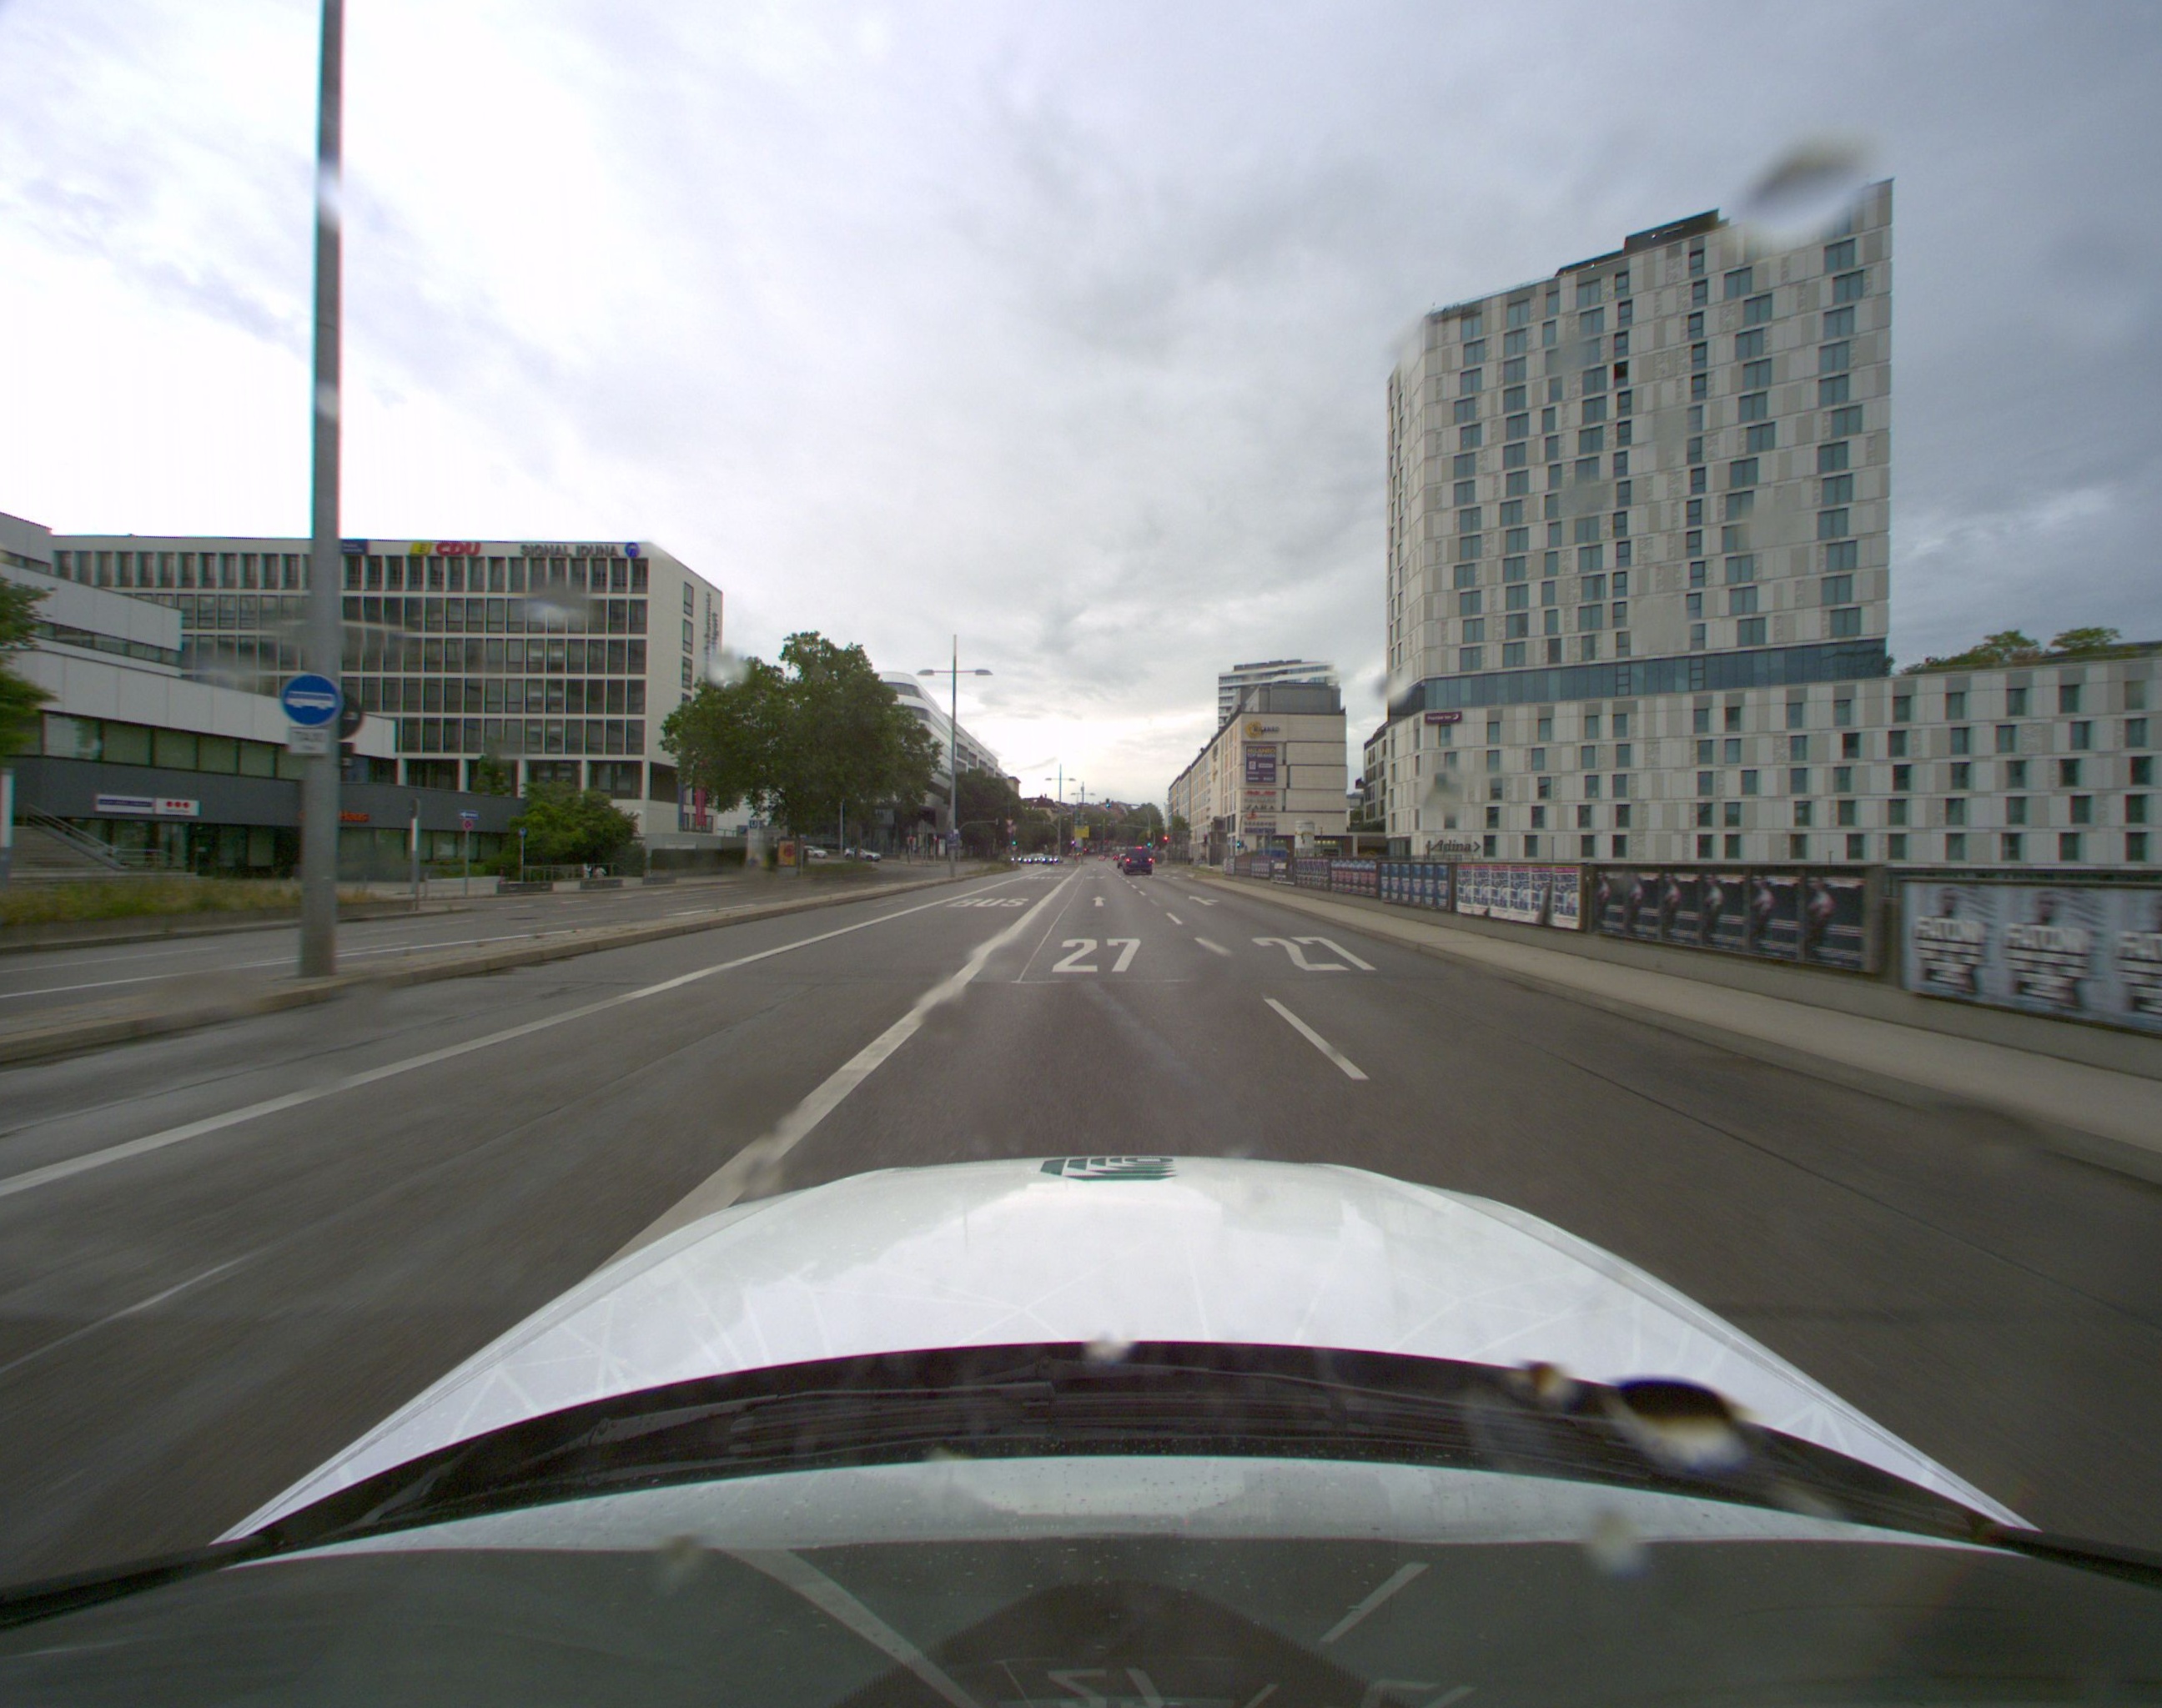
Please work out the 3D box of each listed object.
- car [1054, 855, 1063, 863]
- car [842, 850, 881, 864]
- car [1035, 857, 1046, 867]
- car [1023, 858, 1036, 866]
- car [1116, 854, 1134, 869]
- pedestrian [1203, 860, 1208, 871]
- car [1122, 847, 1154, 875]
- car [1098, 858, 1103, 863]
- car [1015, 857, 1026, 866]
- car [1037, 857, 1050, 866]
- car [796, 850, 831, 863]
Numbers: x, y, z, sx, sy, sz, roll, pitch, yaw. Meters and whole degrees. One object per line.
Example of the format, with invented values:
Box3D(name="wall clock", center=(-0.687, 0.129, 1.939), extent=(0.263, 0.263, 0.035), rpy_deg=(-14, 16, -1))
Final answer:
Box3D(name="car", center=(-4.262, 0.996, 154.992), extent=(1.533, 1.478, 3.697), rpy_deg=(0, -1, 1))
Box3D(name="car", center=(-28.051, 0.389, 104.286), extent=(4.466, 1.631, 1.903), rpy_deg=(-1, -1, 17))
Box3D(name="car", center=(-7.612, 1.496, 152.691), extent=(1.737, 1.748, 3.540), rpy_deg=(0, -1, 1))
Box3D(name="car", center=(-8.263, 1.298, 131.681), extent=(1.737, 1.257, 3.541), rpy_deg=(1, 0, 1))
Box3D(name="car", center=(4.608, 0.824, 85.978), extent=(1.733, 1.531, 3.815), rpy_deg=(0, -1, 1))
Box3D(name="pedestrian", center=(17.678, 1.608, 115.511), extent=(0.548, 1.611, 0.698), rpy_deg=(0, -1, 1))
Box3D(name="car", center=(4.144, 0.471, 59.976), extent=(2.025, 1.882, 5.044), rpy_deg=(-3, 0, 2))
Box3D(name="car", center=(6.157, 2.018, 257.175), extent=(1.733, 1.531, 3.816), rpy_deg=(0, 0, 2))
Box3D(name="car", center=(-10.728, 1.414, 144.682), extent=(1.737, 1.559, 3.540), rpy_deg=(0, -1, 1))
Box3D(name="car", center=(-5.988, 1.162, 130.623), extent=(1.737, 1.444, 3.395), rpy_deg=(0, -1, 1))
Box3D(name="car", center=(-35.175, 0.337, 106.930), extent=(3.956, 1.631, 1.903), rpy_deg=(-1, -1, 17))
